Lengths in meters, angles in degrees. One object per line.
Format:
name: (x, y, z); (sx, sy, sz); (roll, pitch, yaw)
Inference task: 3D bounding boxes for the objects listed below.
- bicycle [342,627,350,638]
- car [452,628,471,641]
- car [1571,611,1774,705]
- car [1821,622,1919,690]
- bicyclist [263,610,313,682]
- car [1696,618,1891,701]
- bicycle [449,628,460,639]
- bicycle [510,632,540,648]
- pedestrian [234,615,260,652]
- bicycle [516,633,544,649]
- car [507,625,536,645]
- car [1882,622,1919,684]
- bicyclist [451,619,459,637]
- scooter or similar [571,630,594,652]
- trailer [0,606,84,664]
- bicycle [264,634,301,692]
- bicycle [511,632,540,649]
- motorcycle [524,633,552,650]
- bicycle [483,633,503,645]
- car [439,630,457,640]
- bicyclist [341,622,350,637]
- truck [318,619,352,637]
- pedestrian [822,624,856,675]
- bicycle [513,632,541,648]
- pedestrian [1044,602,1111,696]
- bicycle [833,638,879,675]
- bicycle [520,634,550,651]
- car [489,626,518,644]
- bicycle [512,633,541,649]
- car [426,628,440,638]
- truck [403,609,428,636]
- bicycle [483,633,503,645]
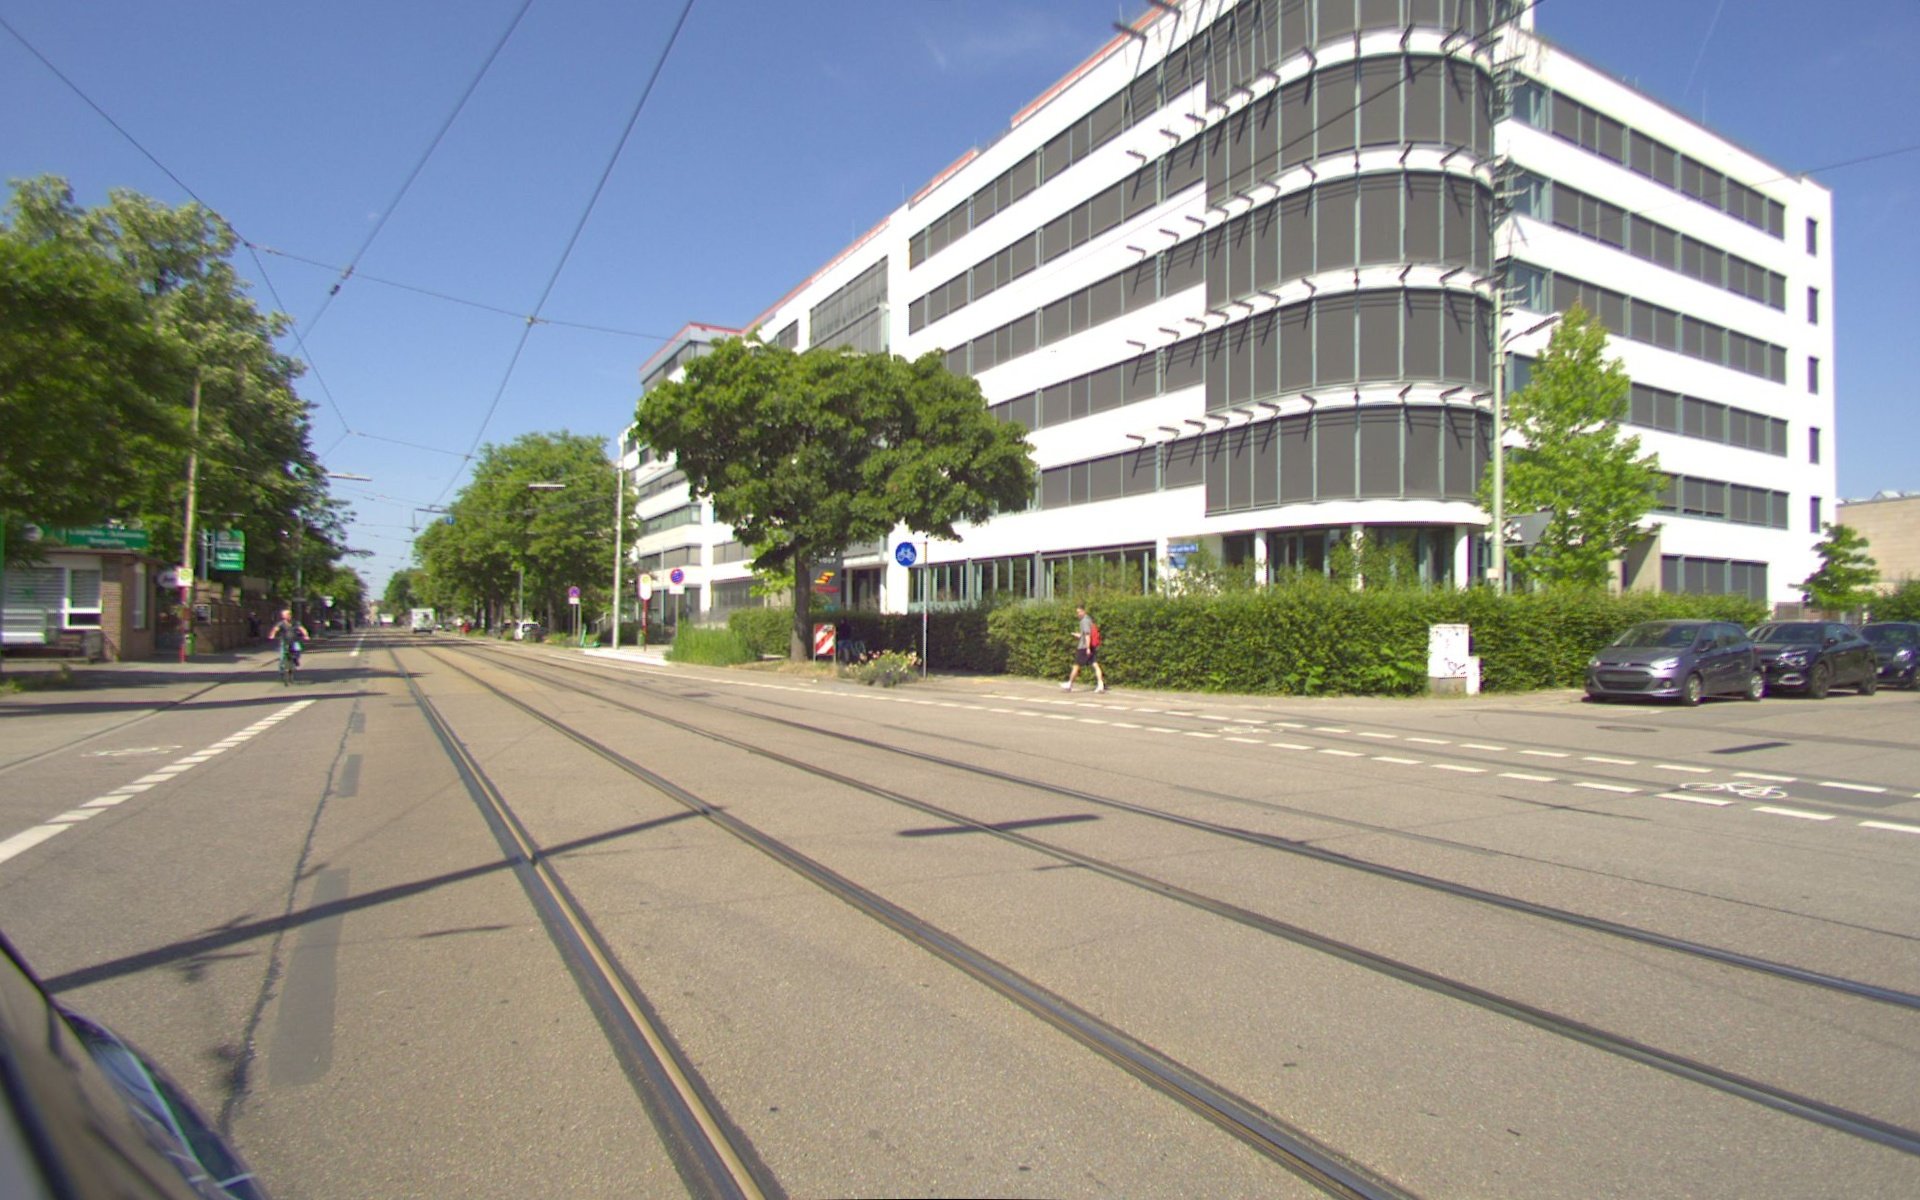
bicycle: (-62.369, 3.329, 102.841); (0.583, 1.114, 2.060); (1, -2, -30)
car: (-59.356, 4.061, 120.495); (1.607, 1.483, 3.730); (1, -2, -32)
car: (12.924, 1.007, 18.334); (3.633, 1.539, 1.710); (1, -2, -32)
car: (21.818, 1.255, 23.420); (3.785, 1.455, 1.788); (1, -2, -32)
bicyclist: (-15.423, 1.044, 23.260); (0.891, 1.607, 0.967); (1, -2, -31)
car: (16.874, 1.145, 20.456); (4.098, 1.530, 1.820); (1, -2, -32)
bicycle: (-51.191, 3.386, 102.419); (0.844, 1.118, 2.146); (1, -2, -31)
bicycle: (-31.256, 2.873, 72.644); (1.877, 1.178, 0.821); (1, -2, -31)
pedestrian: (-35.794, 1.660, 50.822); (0.963, 1.829, 1.188); (0, -2, -30)
bicycle: (-29.871, 2.872, 70.268); (1.700, 1.094, 0.641); (1, -2, -31)
car: (-33.013, 2.646, 76.224); (1.607, 1.483, 3.641); (1, -2, -29)
car: (25.329, 1.308, 25.681); (3.976, 1.517, 1.820); (0, -2, -32)
bicyclist: (-51.197, 2.844, 102.553); (0.627, 1.885, 1.027); (1, -2, -31)
scooter or similar: (-20.756, 2.263, 55.672); (1.110, 1.175, 0.678); (1, -2, -28)
trailer: (-27.573, 0.999, 29.134); (3.228, 1.615, 1.729); (2, -2, -29)
bicycle: (-15.449, 1.410, 23.107); (0.601, 1.206, 2.129); (-2, 0, -32)
bicycle: (-30.931, 2.877, 72.082); (1.847, 1.150, 0.688); (1, -2, -31)
motorcycle: (-28.877, 2.830, 69.228); (1.700, 1.094, 0.660); (1, -2, -31)
bicycle: (-43.400, 3.652, 94.062); (1.700, 1.094, 0.616); (1, -2, -31)
car: (-65.315, 4.459, 129.088); (1.607, 1.365, 3.912); (1, -2, -32)
bicyclist: (-62.480, 2.972, 102.908); (0.730, 1.542, 0.950); (1, -2, -30)
truck: (-138.427, 6.310, 224.332); (2.777, 3.889, 10.018); (0, -2, -9)
pedestrian: (-3.812, 1.549, 31.856); (0.677, 1.575, 0.991); (0, -1, -35)
bicycle: (-30.372, 2.822, 71.006); (1.768, 1.094, 0.728); (1, -2, -31)
pedestrian: (2.370, 0.975, 20.489); (0.877, 1.832, 1.076); (2, -2, -33)
bicycle: (-3.309, 1.784, 32.067); (0.627, 1.126, 2.073); (2, -2, -31)
bicycle: (-28.169, 2.783, 67.065); (1.700, 1.094, 0.791); (1, -2, -31)
car: (-39.225, 2.989, 86.879); (1.607, 1.494, 4.285); (1, -2, -33)
bicycle: (-30.621, 2.908, 71.473); (1.823, 1.140, 0.682); (1, -2, -31)
car: (-76.794, 4.842, 147.335); (1.607, 1.483, 4.126); (1, -2, -30)
truck: (-64.421, 2.702, 119.708); (2.369, 3.132, 6.055); (2, -2, -31)
bicycle: (-43.626, 3.673, 94.574); (1.700, 1.094, 0.480); (1, -2, -31)
